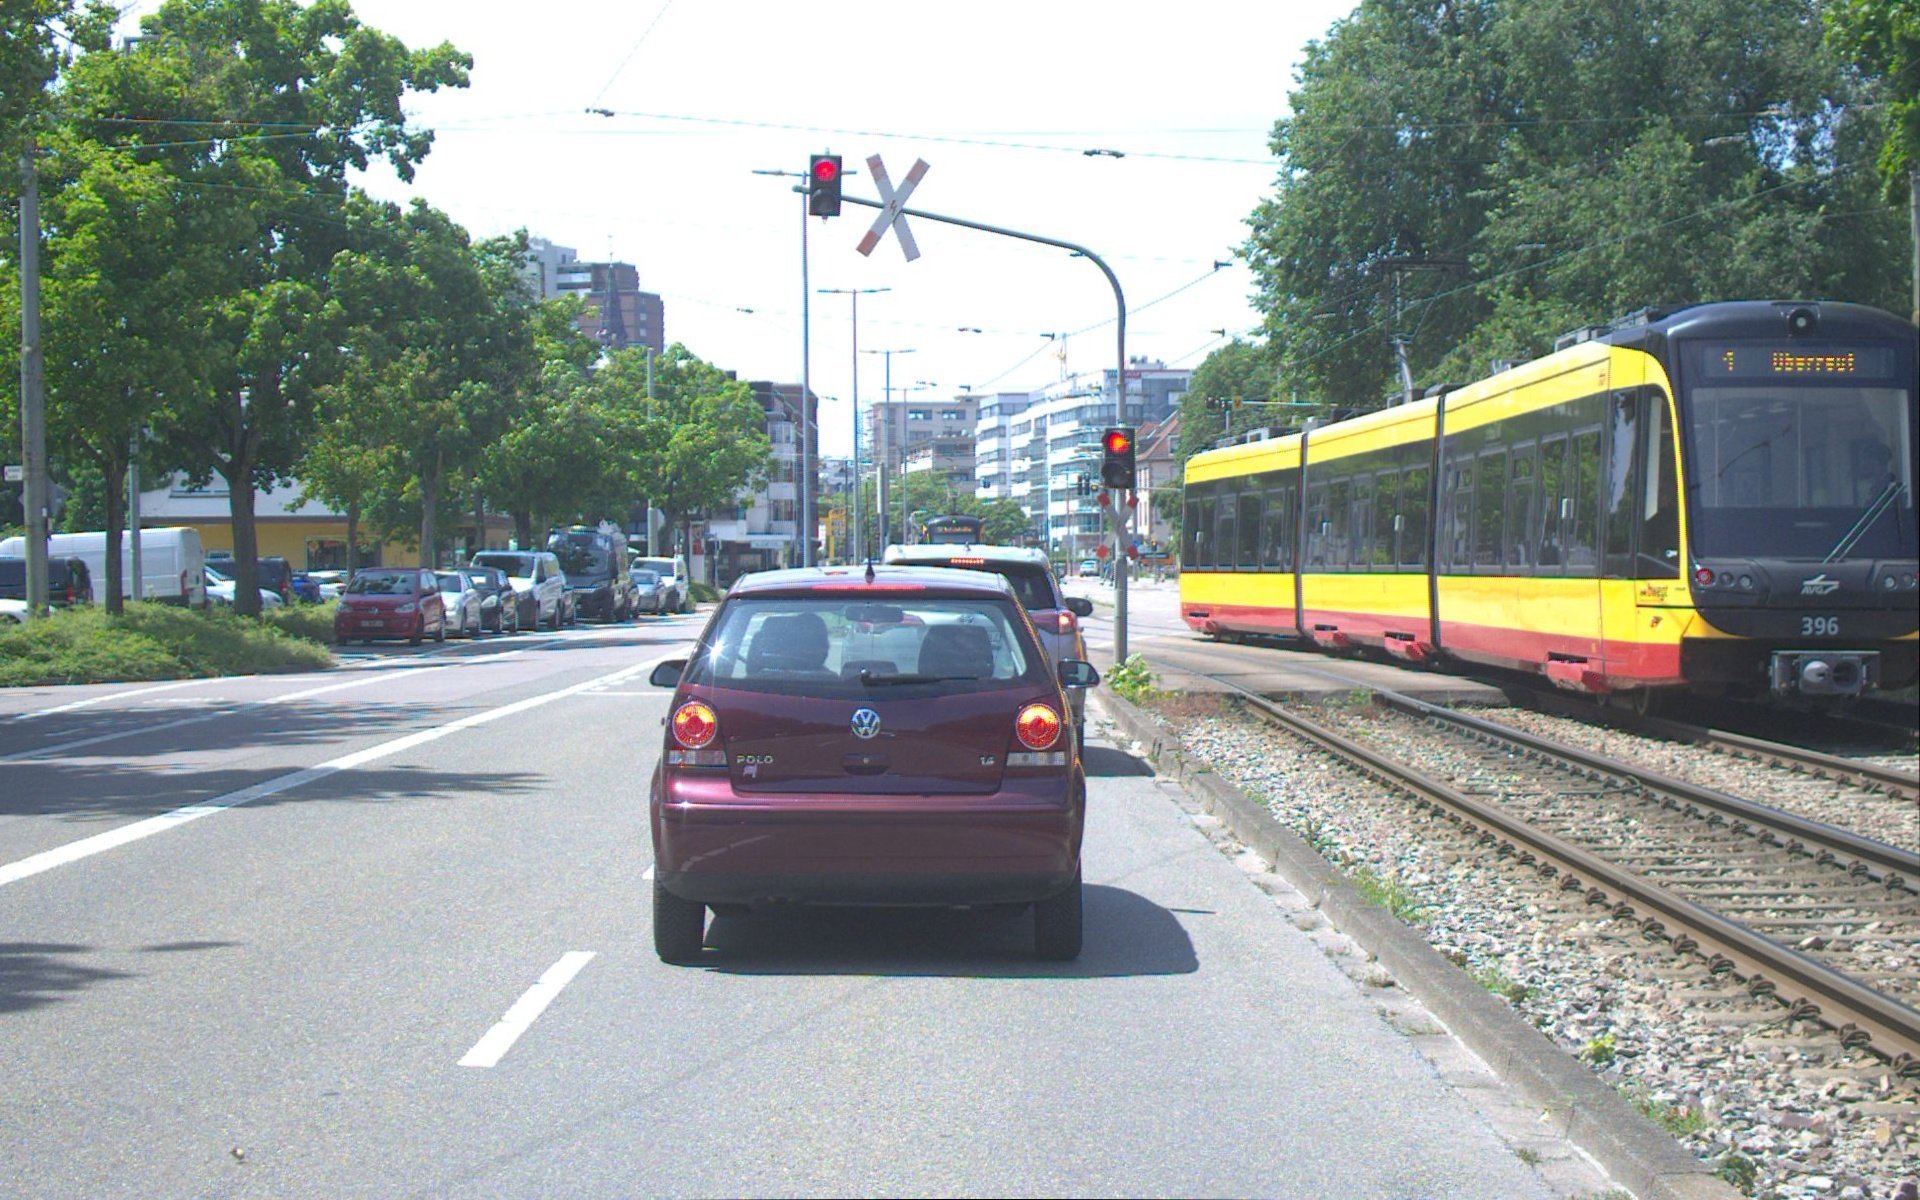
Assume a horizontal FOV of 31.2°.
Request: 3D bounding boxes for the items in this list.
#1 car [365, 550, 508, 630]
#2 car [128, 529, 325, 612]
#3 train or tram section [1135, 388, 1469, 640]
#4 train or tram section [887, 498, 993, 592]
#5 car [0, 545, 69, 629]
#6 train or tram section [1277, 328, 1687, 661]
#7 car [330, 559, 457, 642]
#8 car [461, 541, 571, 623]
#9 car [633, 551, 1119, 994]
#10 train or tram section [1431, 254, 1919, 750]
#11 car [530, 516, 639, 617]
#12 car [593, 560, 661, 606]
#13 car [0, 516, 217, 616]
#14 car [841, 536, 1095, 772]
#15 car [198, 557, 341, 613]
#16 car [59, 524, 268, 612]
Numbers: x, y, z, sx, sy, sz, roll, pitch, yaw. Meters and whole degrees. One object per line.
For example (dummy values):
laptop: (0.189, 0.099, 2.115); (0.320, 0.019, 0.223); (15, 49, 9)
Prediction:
car: (-11.039, -0.201, 72.785); (1.976, 1.595, 4.557); (2, 0, 4)
car: (-21.169, -0.848, 99.366); (5.097, 2.237, 2.378); (2, 0, 1)
train or tram section: (5.515, -1.399, 58.400); (3.028, 3.785, 12.763); (-1, 1, -6)
train or tram section: (-0.918, -2.292, 141.583); (2.740, 3.597, 12.873); (1, 1, -7)
car: (-21.020, -0.263, 72.369); (3.987, 1.740, 1.998); (-1, 1, -1)
train or tram section: (6.574, -1.308, 45.830); (3.028, 3.785, 13.091); (-1, 1, -2)
car: (-10.883, 0.011, 66.236); (1.663, 1.492, 4.000); (2, 0, 1)
car: (-10.679, -0.431, 83.022); (1.783, 1.875, 4.785); (2, 0, 2)
car: (-0.333, 0.579, 14.072); (1.672, 1.516, 4.000); (1, 1, -1)
train or tram section: (6.934, -0.856, 32.897); (3.028, 3.785, 13.090); (0, 1, 0)
car: (-10.449, -0.913, 96.063); (2.361, 2.683, 5.307); (2, 0, 1)
car: (-10.954, -0.545, 113.294); (1.614, 1.436, 3.999); (2, 0, 3)
car: (-20.759, -0.817, 82.911); (5.097, 2.237, 2.378); (2, 0, 1)
car: (0.016, 0.351, 26.441); (1.777, 1.641, 4.000); (1, 1, -1)
car: (-21.403, -0.461, 106.690); (4.020, 1.611, 1.816); (2, 0, 1)
car: (-21.782, -0.864, 94.142); (5.097, 2.237, 2.378); (2, 0, 1)
